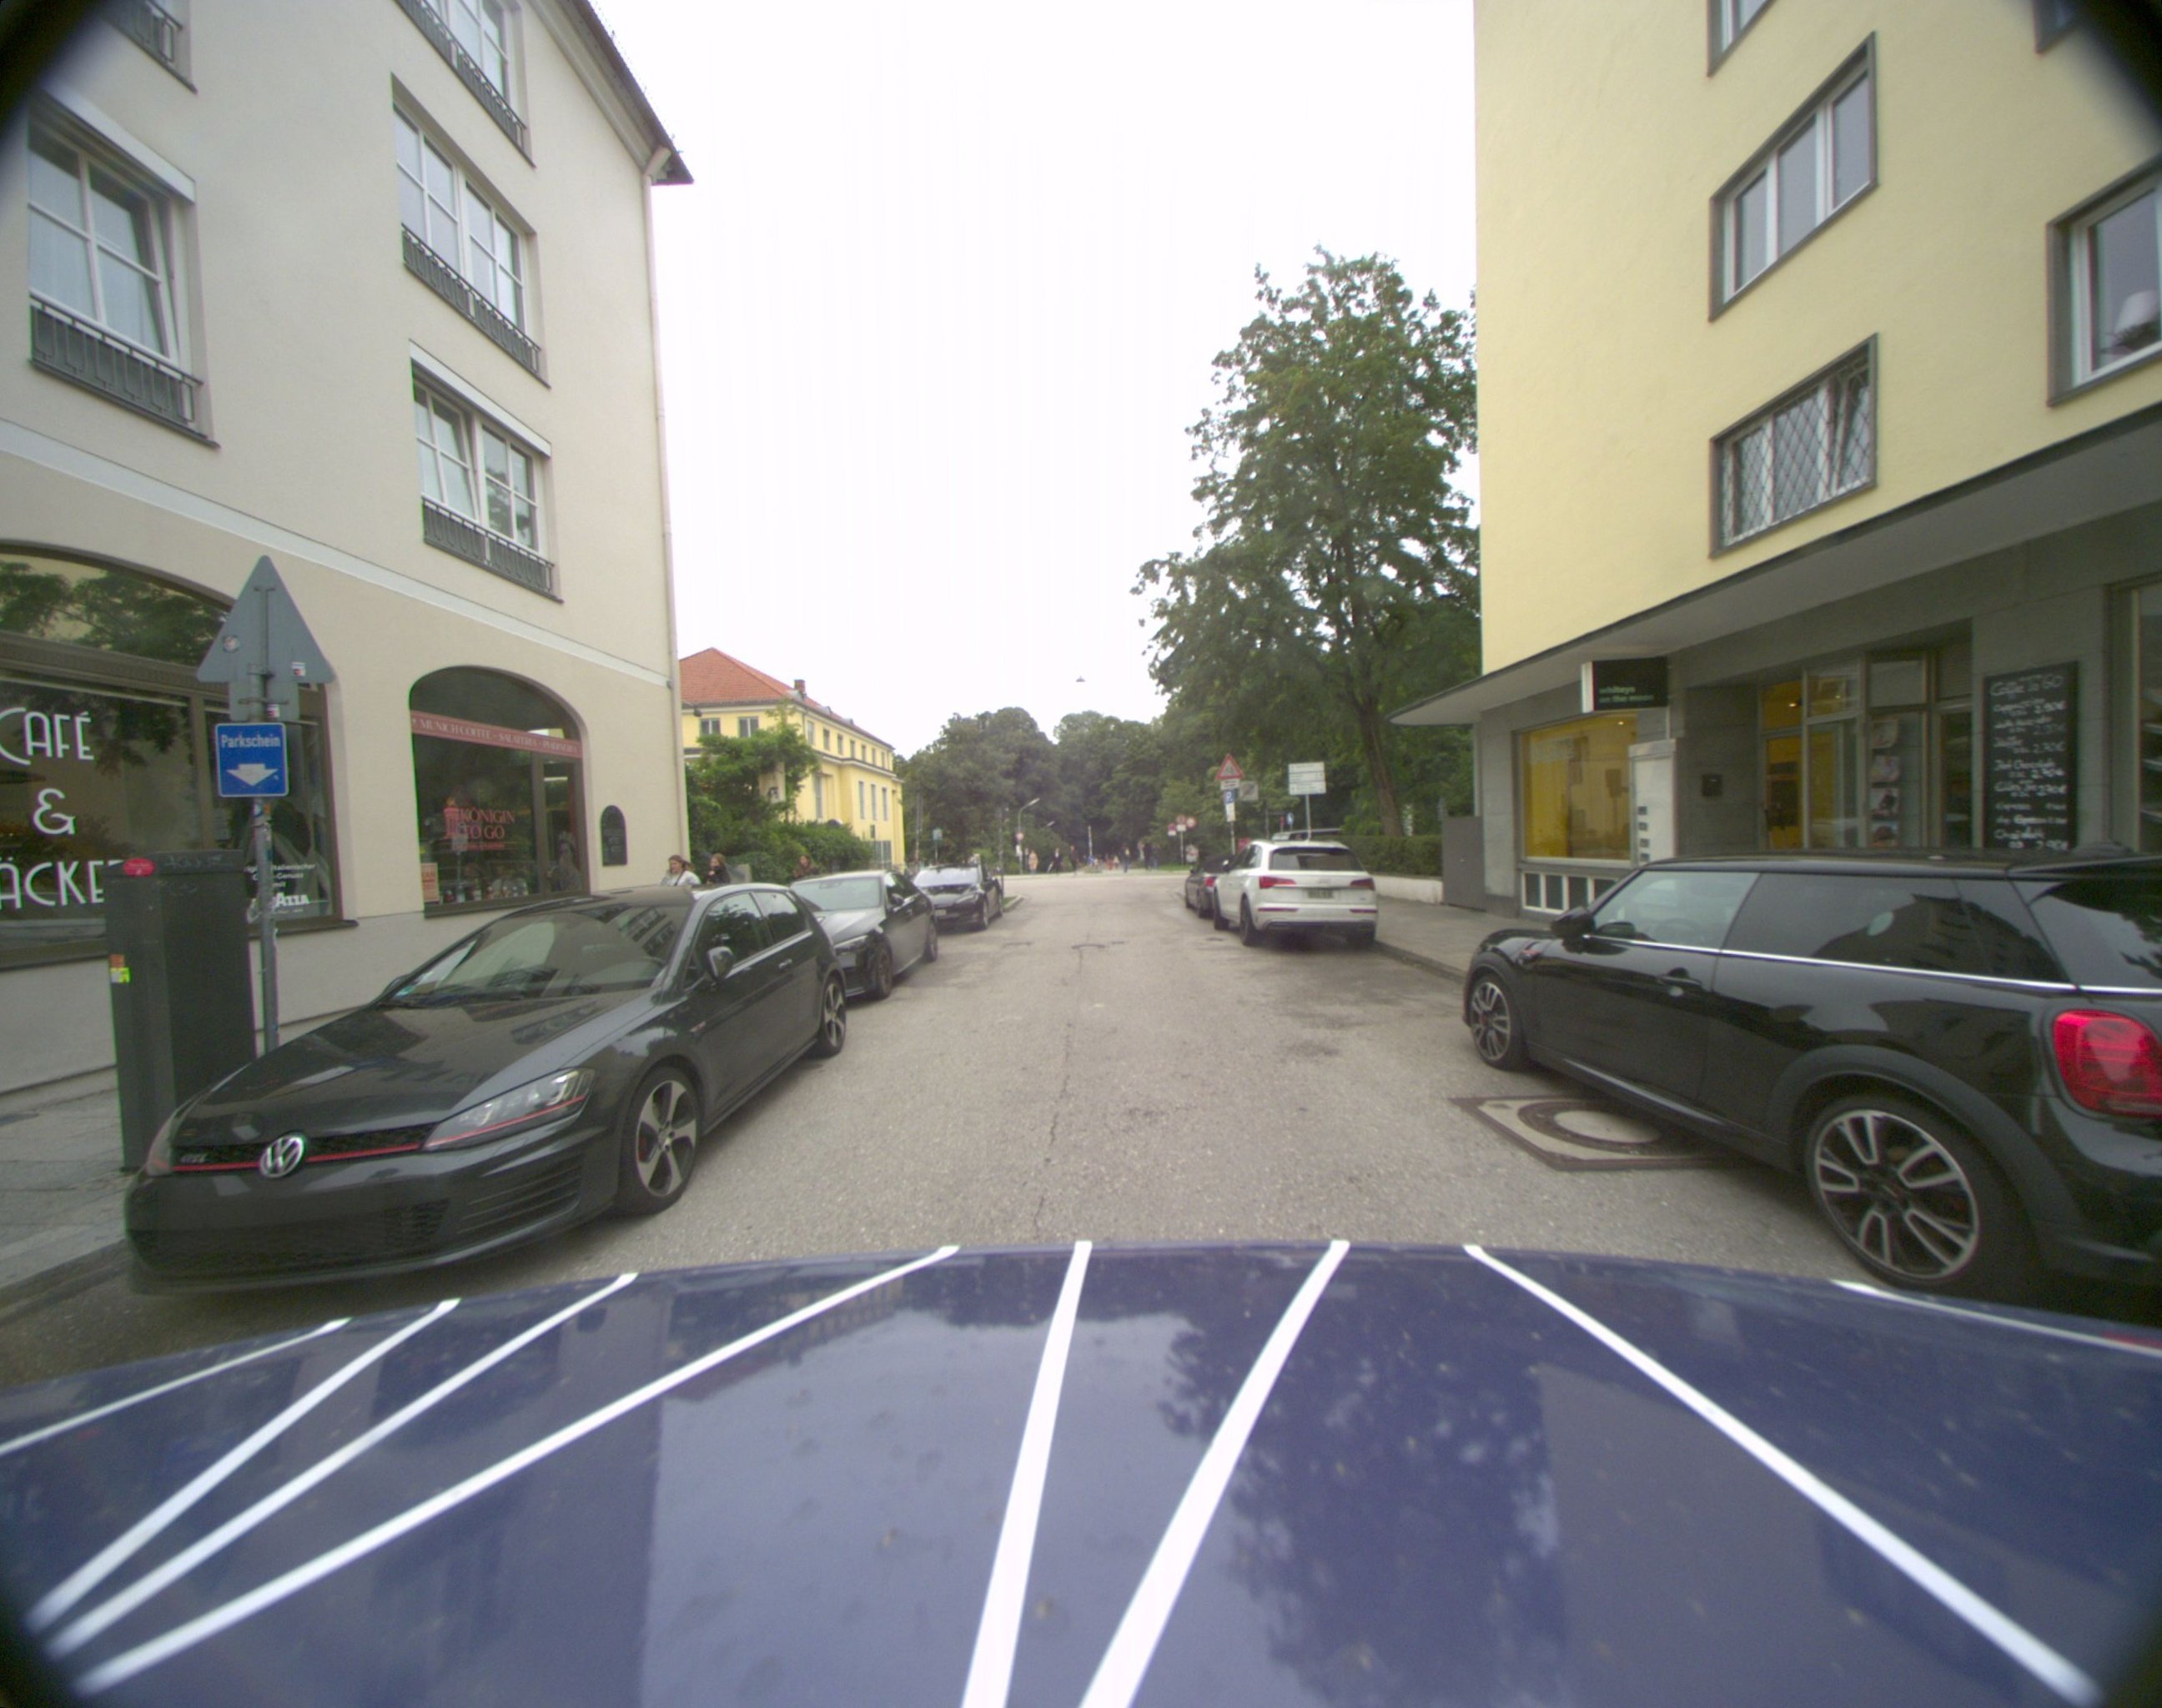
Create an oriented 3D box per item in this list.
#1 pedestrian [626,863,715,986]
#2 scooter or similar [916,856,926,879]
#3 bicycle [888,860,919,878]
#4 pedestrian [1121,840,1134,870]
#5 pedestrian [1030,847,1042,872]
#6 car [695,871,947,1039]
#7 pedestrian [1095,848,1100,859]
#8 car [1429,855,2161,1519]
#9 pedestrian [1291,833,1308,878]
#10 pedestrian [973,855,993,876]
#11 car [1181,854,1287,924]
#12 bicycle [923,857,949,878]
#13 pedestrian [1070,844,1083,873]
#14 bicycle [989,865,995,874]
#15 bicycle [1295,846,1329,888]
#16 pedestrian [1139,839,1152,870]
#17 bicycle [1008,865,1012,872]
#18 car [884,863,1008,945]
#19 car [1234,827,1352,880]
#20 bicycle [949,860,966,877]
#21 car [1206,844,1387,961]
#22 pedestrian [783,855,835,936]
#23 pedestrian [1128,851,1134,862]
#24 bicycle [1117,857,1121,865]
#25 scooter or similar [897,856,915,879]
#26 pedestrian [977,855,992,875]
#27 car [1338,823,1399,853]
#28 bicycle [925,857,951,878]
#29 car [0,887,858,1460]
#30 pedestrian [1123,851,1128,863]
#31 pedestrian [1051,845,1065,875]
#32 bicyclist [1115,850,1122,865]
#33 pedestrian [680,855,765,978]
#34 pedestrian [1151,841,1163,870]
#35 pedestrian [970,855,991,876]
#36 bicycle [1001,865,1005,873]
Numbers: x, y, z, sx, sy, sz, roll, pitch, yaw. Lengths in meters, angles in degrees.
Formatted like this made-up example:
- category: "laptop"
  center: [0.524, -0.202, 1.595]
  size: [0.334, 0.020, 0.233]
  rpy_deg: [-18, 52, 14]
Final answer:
- category: "pedestrian"
  center: [-5.905, 0.987, 10.977]
  size: [0.706, 1.652, 0.880]
  rpy_deg: [-2, 3, 0]
- category: "scooter or similar"
  center: [-8.803, 0.740, 41.688]
  size: [0.324, 1.206, 1.115]
  rpy_deg: [-2, 0, -21]
- category: "bicycle"
  center: [-9.945, 0.839, 42.538]
  size: [1.656, 0.987, 0.248]
  rpy_deg: [0, 0, -23]
- category: "pedestrian"
  center: [2.923, 0.071, 47.639]
  size: [0.751, 1.822, 1.115]
  rpy_deg: [-1, 0, 1]
- category: "pedestrian"
  center: [-3.087, 0.372, 52.075]
  size: [0.653, 1.676, 0.976]
  rpy_deg: [-4, -1, 2]
- category: "car"
  center: [-3.030, 1.076, 9.949]
  size: [1.650, 1.417, 4.508]
  rpy_deg: [-5, 1, 0]
- category: "pedestrian"
  center: [2.584, -0.131, 119.138]
  size: [0.686, 1.662, 0.774]
  rpy_deg: [-4, -1, 2]
- category: "car"
  center: [3.450, 0.793, 3.760]
  size: [1.683, 1.463, 4.097]
  rpy_deg: [-1, 1, 2]
- category: "pedestrian"
  center: [8.914, 0.067, 31.029]
  size: [0.560, 1.788, 0.641]
  rpy_deg: [-2, 0, 19]
- category: "pedestrian"
  center: [-6.359, 0.734, 49.270]
  size: [1.178, 1.285, 0.639]
  rpy_deg: [-4, -1, -10]
- category: "car"
  center: [3.491, 0.740, 18.076]
  size: [1.750, 1.402, 4.097]
  rpy_deg: [-1, 1, 1]
- category: "bicycle"
  center: [-8.342, 0.775, 43.726]
  size: [0.202, 1.184, 1.658]
  rpy_deg: [-1, -1, 42]
- category: "pedestrian"
  center: [-0.266, 0.284, 44.460]
  size: [0.639, 1.662, 0.774]
  rpy_deg: [-4, -1, 2]
- category: "bicycle"
  center: [-6.863, 1.165, 58.653]
  size: [0.215, 0.672, 0.910]
  rpy_deg: [-1, -1, 13]
- category: "bicycle"
  center: [7.099, 0.370, 23.420]
  size: [0.563, 1.203, 1.854]
  rpy_deg: [-3, 1, 4]
- category: "pedestrian"
  center: [3.996, 0.051, 47.158]
  size: [0.707, 1.892, 0.804]
  rpy_deg: [-1, 0, 1]
- category: "bicycle"
  center: [-6.547, 1.318, 70.188]
  size: [0.242, 0.653, 0.909]
  rpy_deg: [-1, -1, 2]
- category: "car"
  center: [-2.873, 1.017, 17.229]
  size: [1.807, 1.402, 4.656]
  rpy_deg: [-3, 1, 1]
- category: "car"
  center: [8.941, -0.080, 32.149]
  size: [4.422, 1.990, 1.933]
  rpy_deg: [-3, 3, -14]
- category: "bicycle"
  center: [-7.406, 0.866, 45.604]
  size: [0.307, 1.032, 1.656]
  rpy_deg: [-1, -1, 16]
- category: "car"
  center: [3.322, 0.679, 12.619]
  size: [1.807, 1.574, 4.338]
  rpy_deg: [-1, 0, 1]
- category: "pedestrian"
  center: [-5.740, 0.857, 16.083]
  size: [0.706, 1.614, 0.880]
  rpy_deg: [-2, 3, 0]
- category: "pedestrian"
  center: [7.346, 0.357, 111.756]
  size: [0.686, 1.662, 0.774]
  rpy_deg: [-4, -1, 2]
- category: "bicycle"
  center: [4.933, 0.915, 98.655]
  size: [0.483, 1.035, 1.946]
  rpy_deg: [-2, 1, 4]
- category: "scooter or similar"
  center: [-9.596, 0.745, 41.628]
  size: [0.396, 1.240, 1.391]
  rpy_deg: [-2, 0, 10]
- category: "pedestrian"
  center: [-6.329, 0.735, 49.922]
  size: [0.887, 1.227, 0.550]
  rpy_deg: [-4, -1, -10]
- category: "car"
  center: [22.023, -1.220, 58.214]
  size: [3.958, 2.093, 1.908]
  rpy_deg: [-2, 2, 32]
- category: "bicycle"
  center: [-8.206, 0.765, 43.583]
  size: [0.169, 1.191, 1.658]
  rpy_deg: [-1, -1, 42]
- category: "car"
  center: [-2.776, 1.079, 4.429]
  size: [1.680, 1.417, 4.202]
  rpy_deg: [-5, 1, -1]
- category: "pedestrian"
  center: [6.521, 0.446, 111.532]
  size: [0.686, 1.662, 0.774]
  rpy_deg: [-4, -1, 2]
- category: "pedestrian"
  center: [-1.337, 0.359, 44.244]
  size: [0.686, 1.662, 0.774]
  rpy_deg: [-4, -1, 2]
- category: "bicyclist"
  center: [4.895, 0.456, 98.665]
  size: [0.856, 1.792, 0.767]
  rpy_deg: [-3, 0, 1]
- category: "pedestrian"
  center: [-5.157, 0.877, 10.992]
  size: [0.706, 1.652, 0.880]
  rpy_deg: [-2, 3, 0]
- category: "pedestrian"
  center: [4.692, 0.121, 47.133]
  size: [0.634, 1.771, 0.801]
  rpy_deg: [-1, 0, 1]
- category: "pedestrian"
  center: [-6.393, 0.750, 48.327]
  size: [1.217, 1.240, 0.639]
  rpy_deg: [-4, -1, -10]
- category: "bicycle"
  center: [-6.744, 1.275, 65.651]
  size: [0.215, 0.672, 0.909]
  rpy_deg: [-1, -1, 4]
